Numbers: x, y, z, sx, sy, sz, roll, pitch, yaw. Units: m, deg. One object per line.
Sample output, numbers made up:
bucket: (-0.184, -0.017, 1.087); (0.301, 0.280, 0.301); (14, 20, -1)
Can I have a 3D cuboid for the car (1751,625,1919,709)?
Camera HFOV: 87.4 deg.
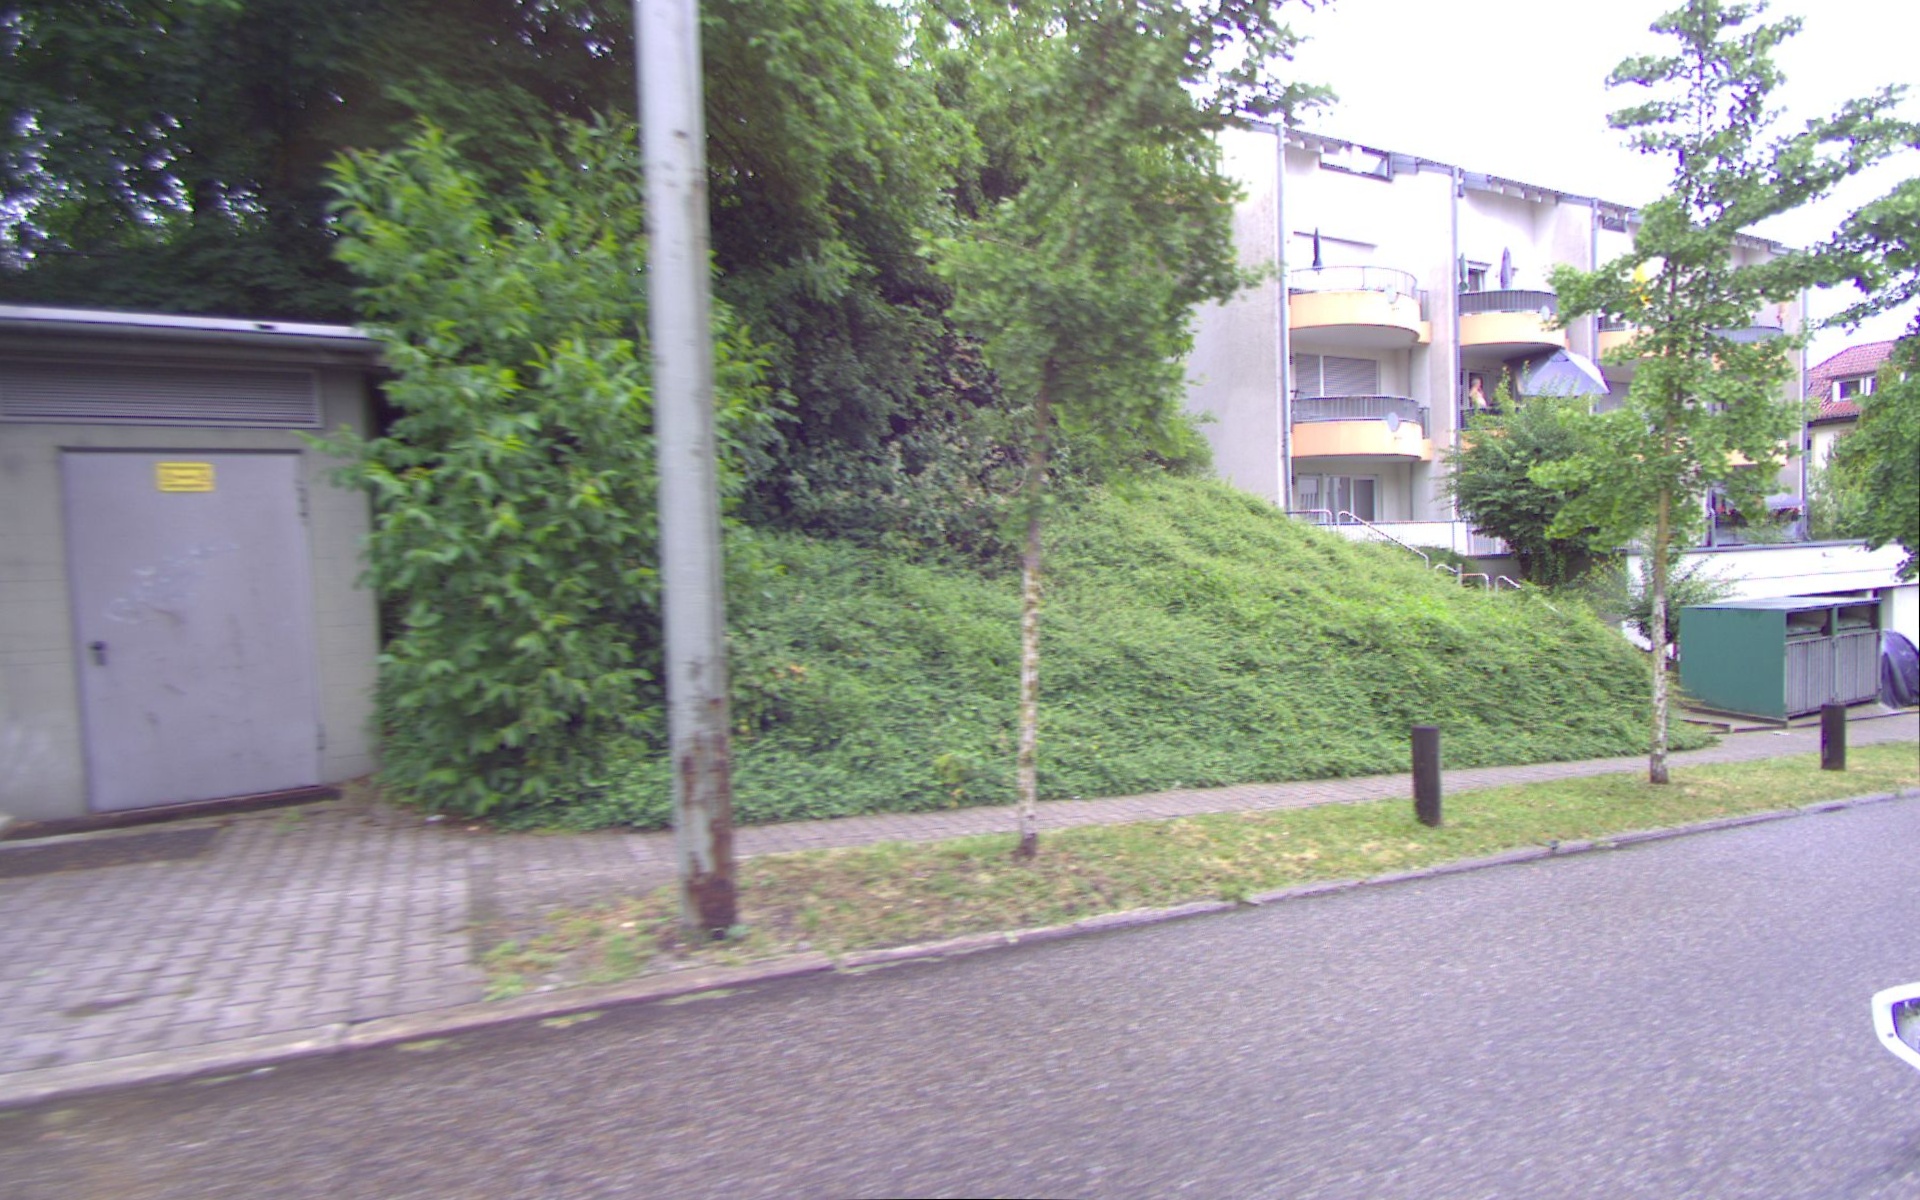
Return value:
car: (17.210, 1.255, 19.374); (3.838, 1.475, 1.734); (1, -4, -30)
